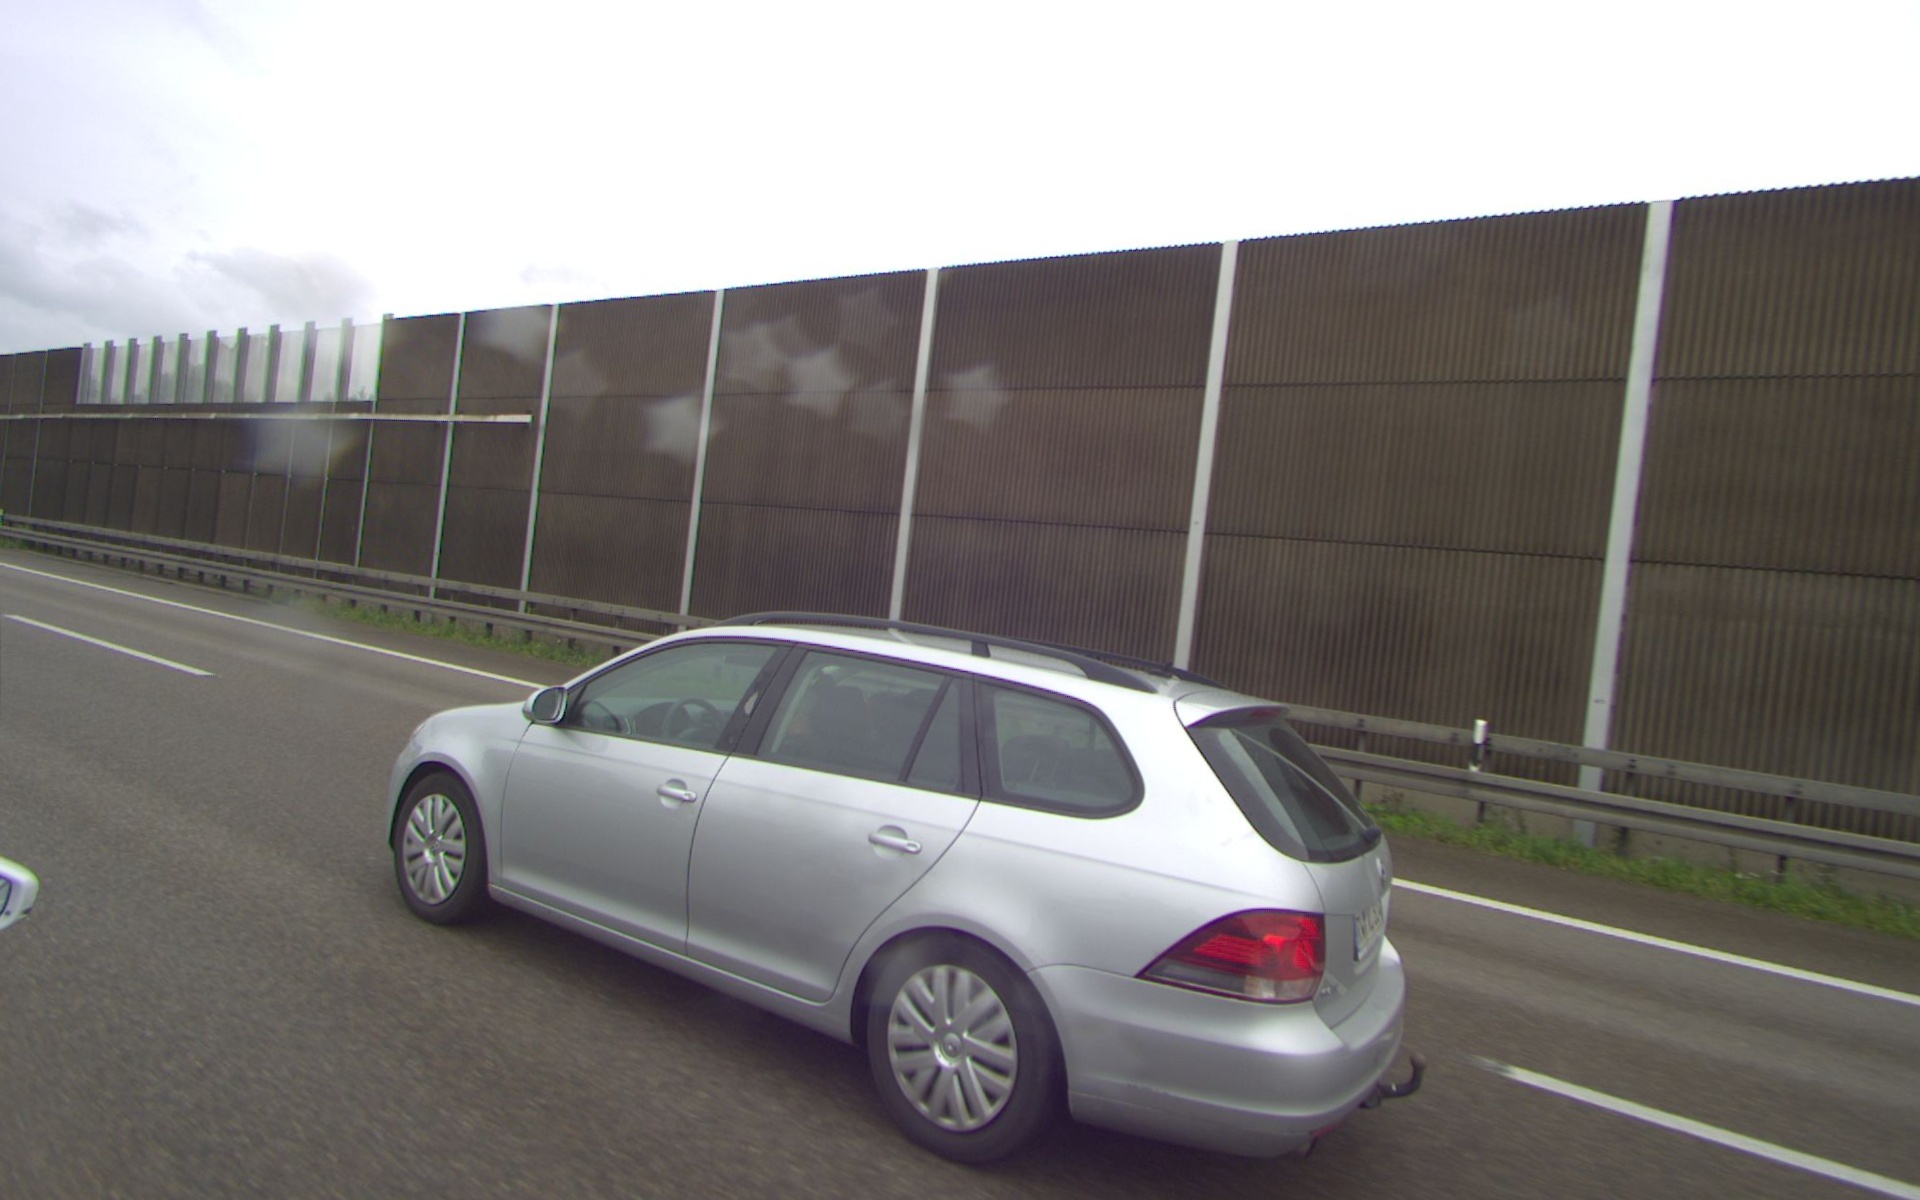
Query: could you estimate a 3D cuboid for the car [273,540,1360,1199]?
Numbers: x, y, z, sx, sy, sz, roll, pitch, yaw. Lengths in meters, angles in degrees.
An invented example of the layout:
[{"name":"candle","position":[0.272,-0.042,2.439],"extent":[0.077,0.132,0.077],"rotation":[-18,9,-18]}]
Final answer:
[{"name":"car","position":[-0.844,0.713,4.339],"extent":[4.442,1.442,1.744],"rotation":[6,-1,31]}]
